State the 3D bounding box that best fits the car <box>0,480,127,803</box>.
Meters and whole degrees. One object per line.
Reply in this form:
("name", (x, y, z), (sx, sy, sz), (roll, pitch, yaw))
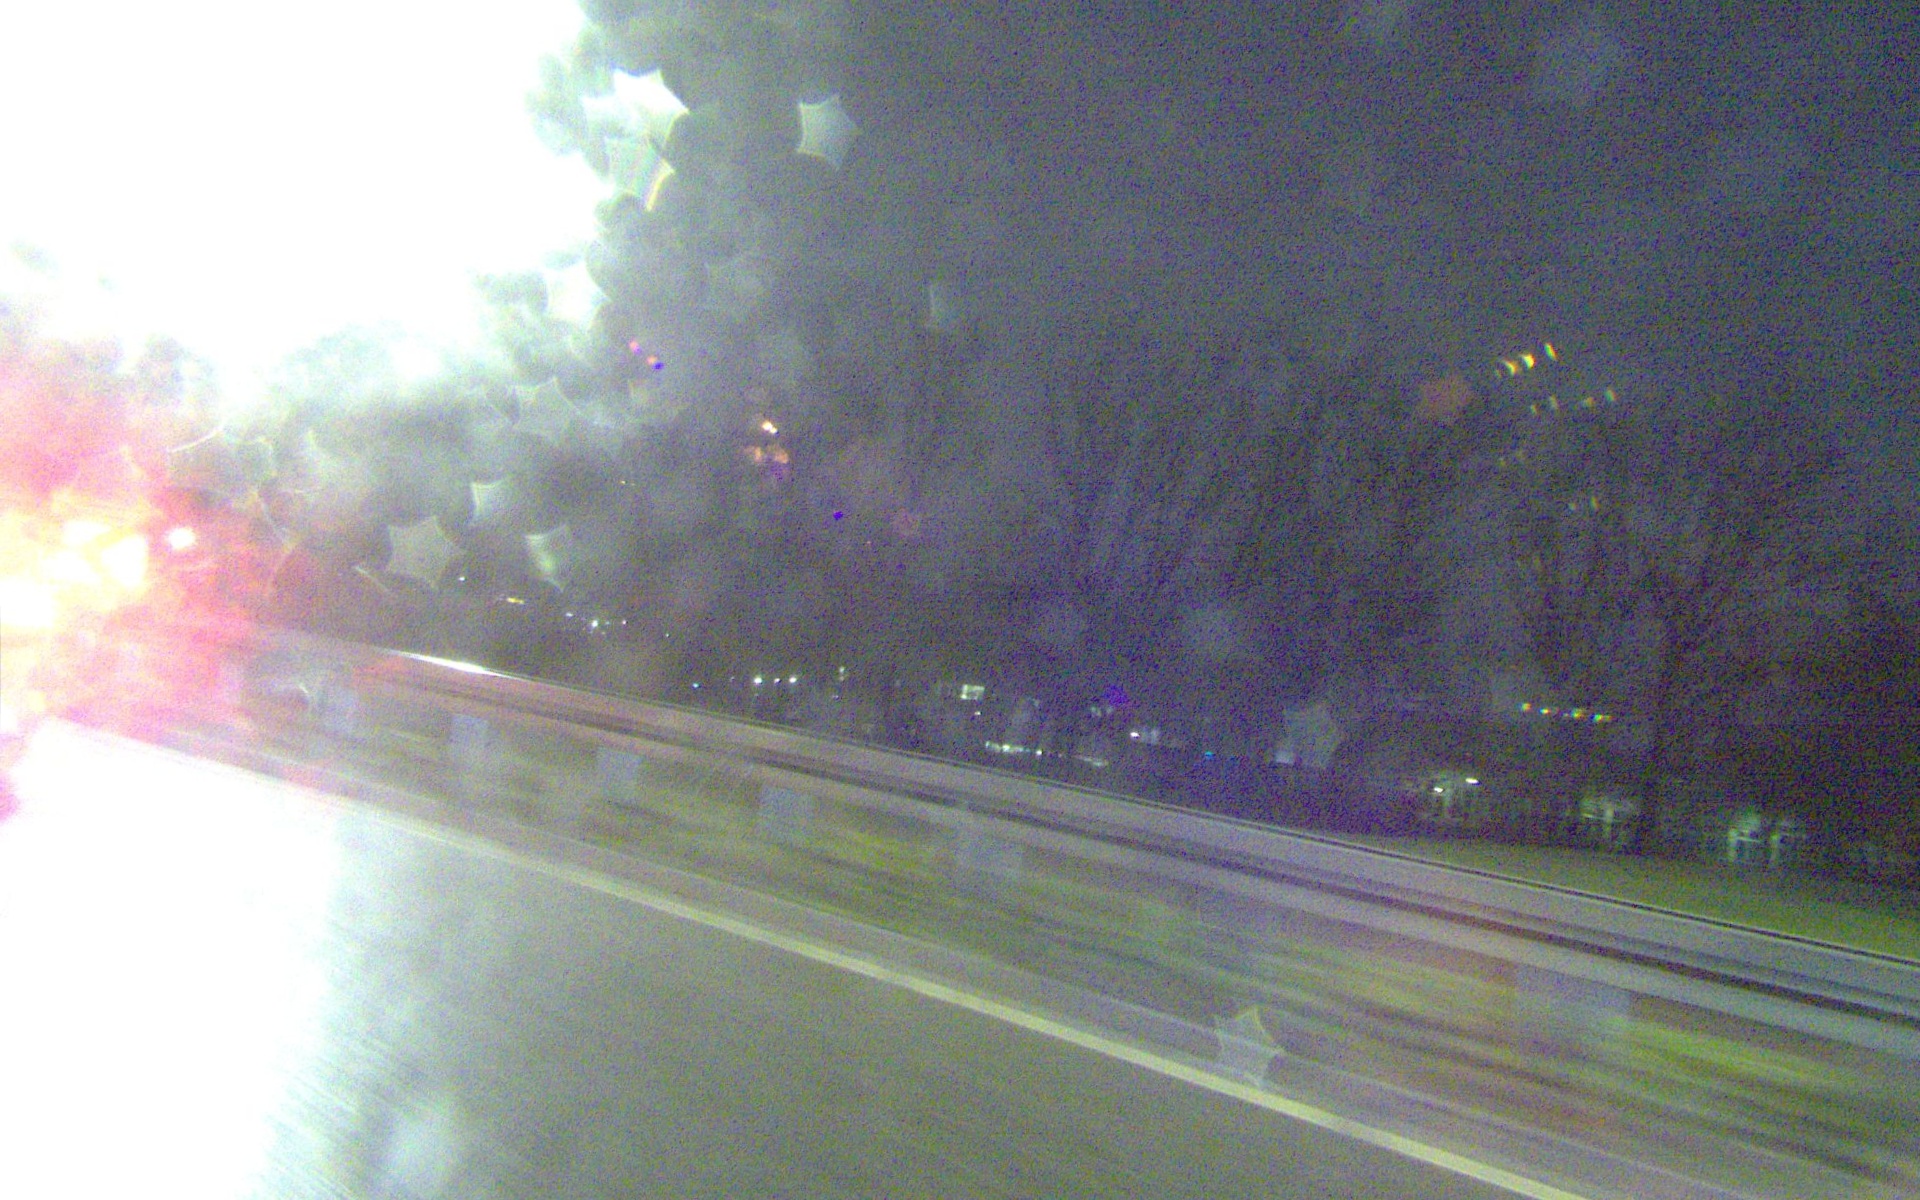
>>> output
("car", (-6.705, -0.006, 5.482), (3.930, 1.605, 1.860), (6, -1, 28))
